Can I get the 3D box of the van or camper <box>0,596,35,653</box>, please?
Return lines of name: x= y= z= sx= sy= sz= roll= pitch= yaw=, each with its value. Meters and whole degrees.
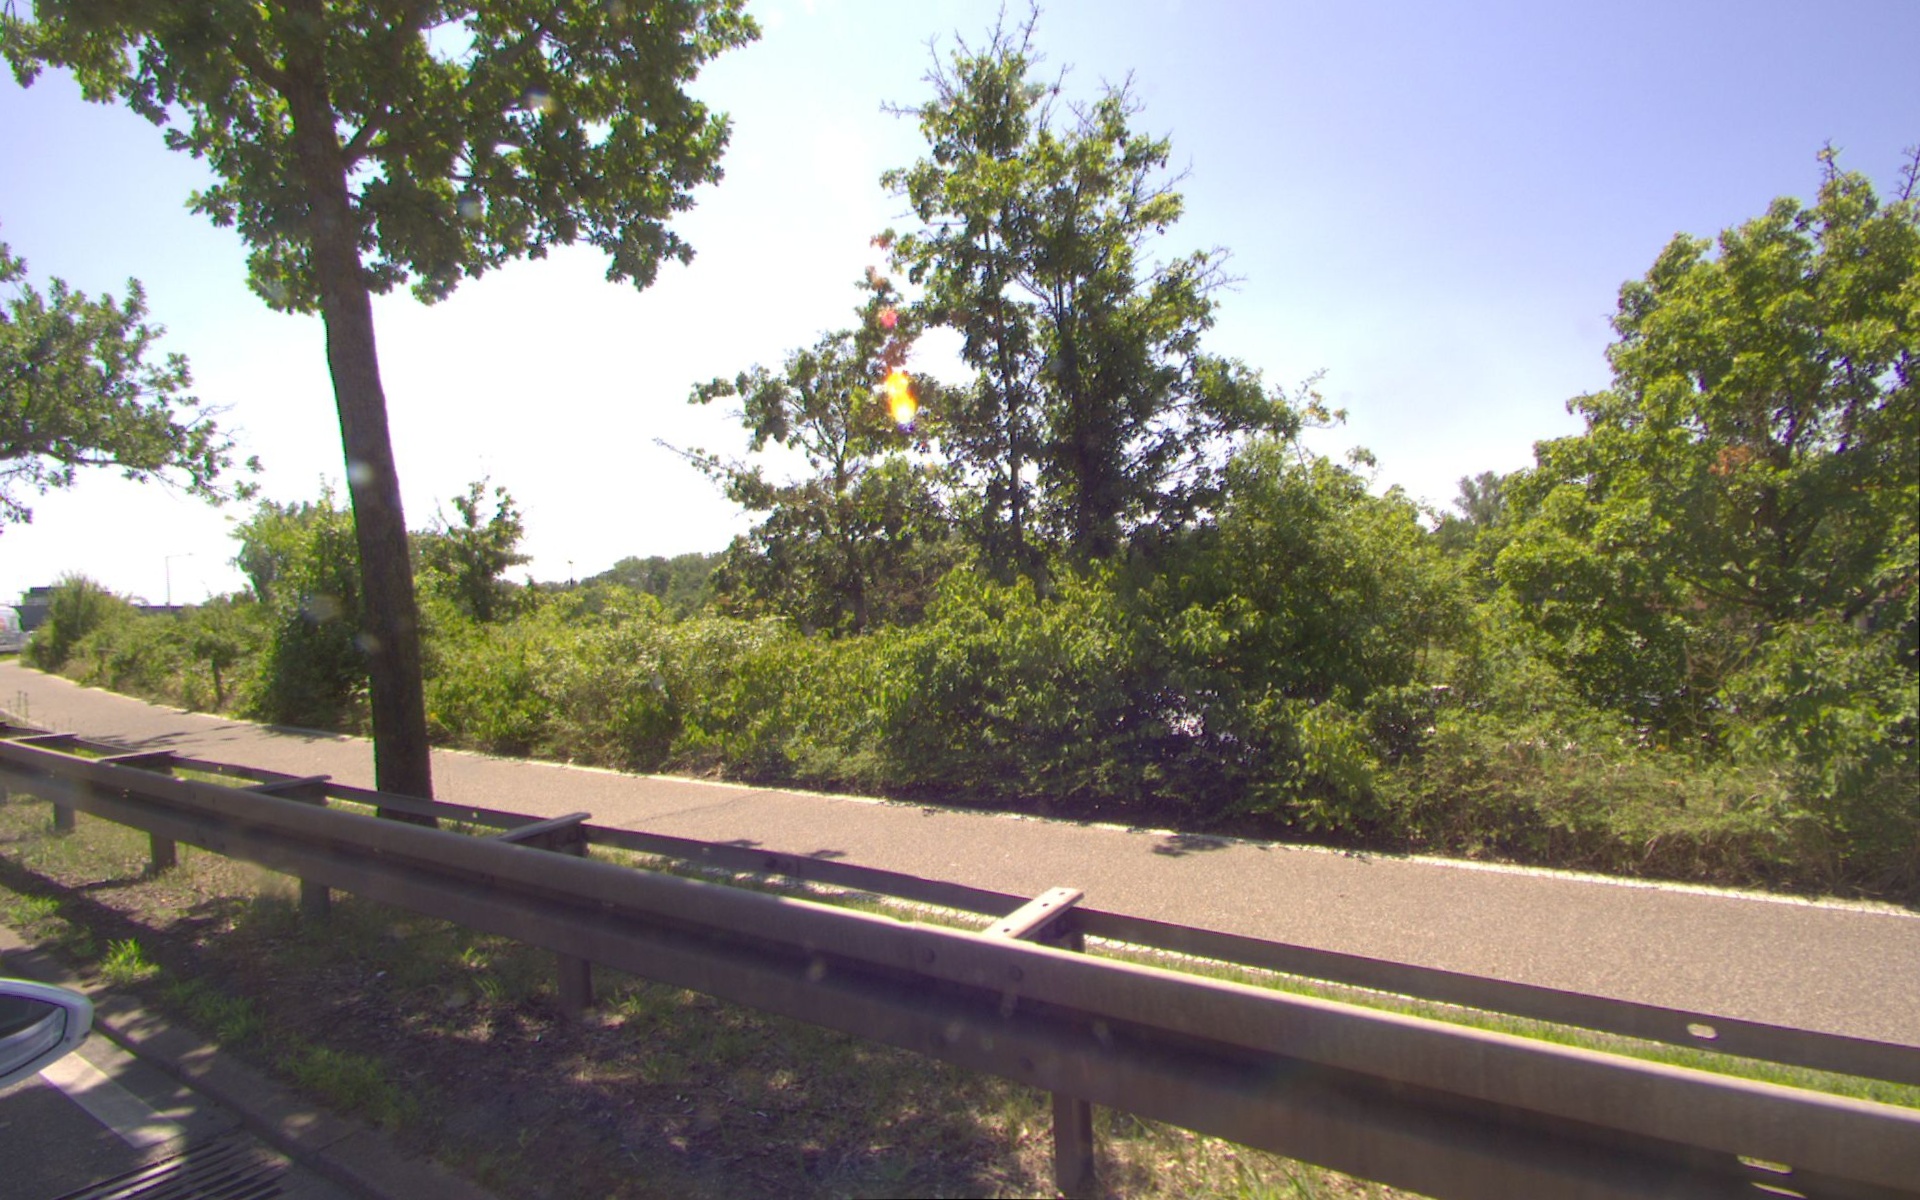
van or camper: x=-49.175 y=1.249 z=50.716 sx=2.179 sy=2.746 sz=5.894 roll=0 pitch=-1 yaw=-31
